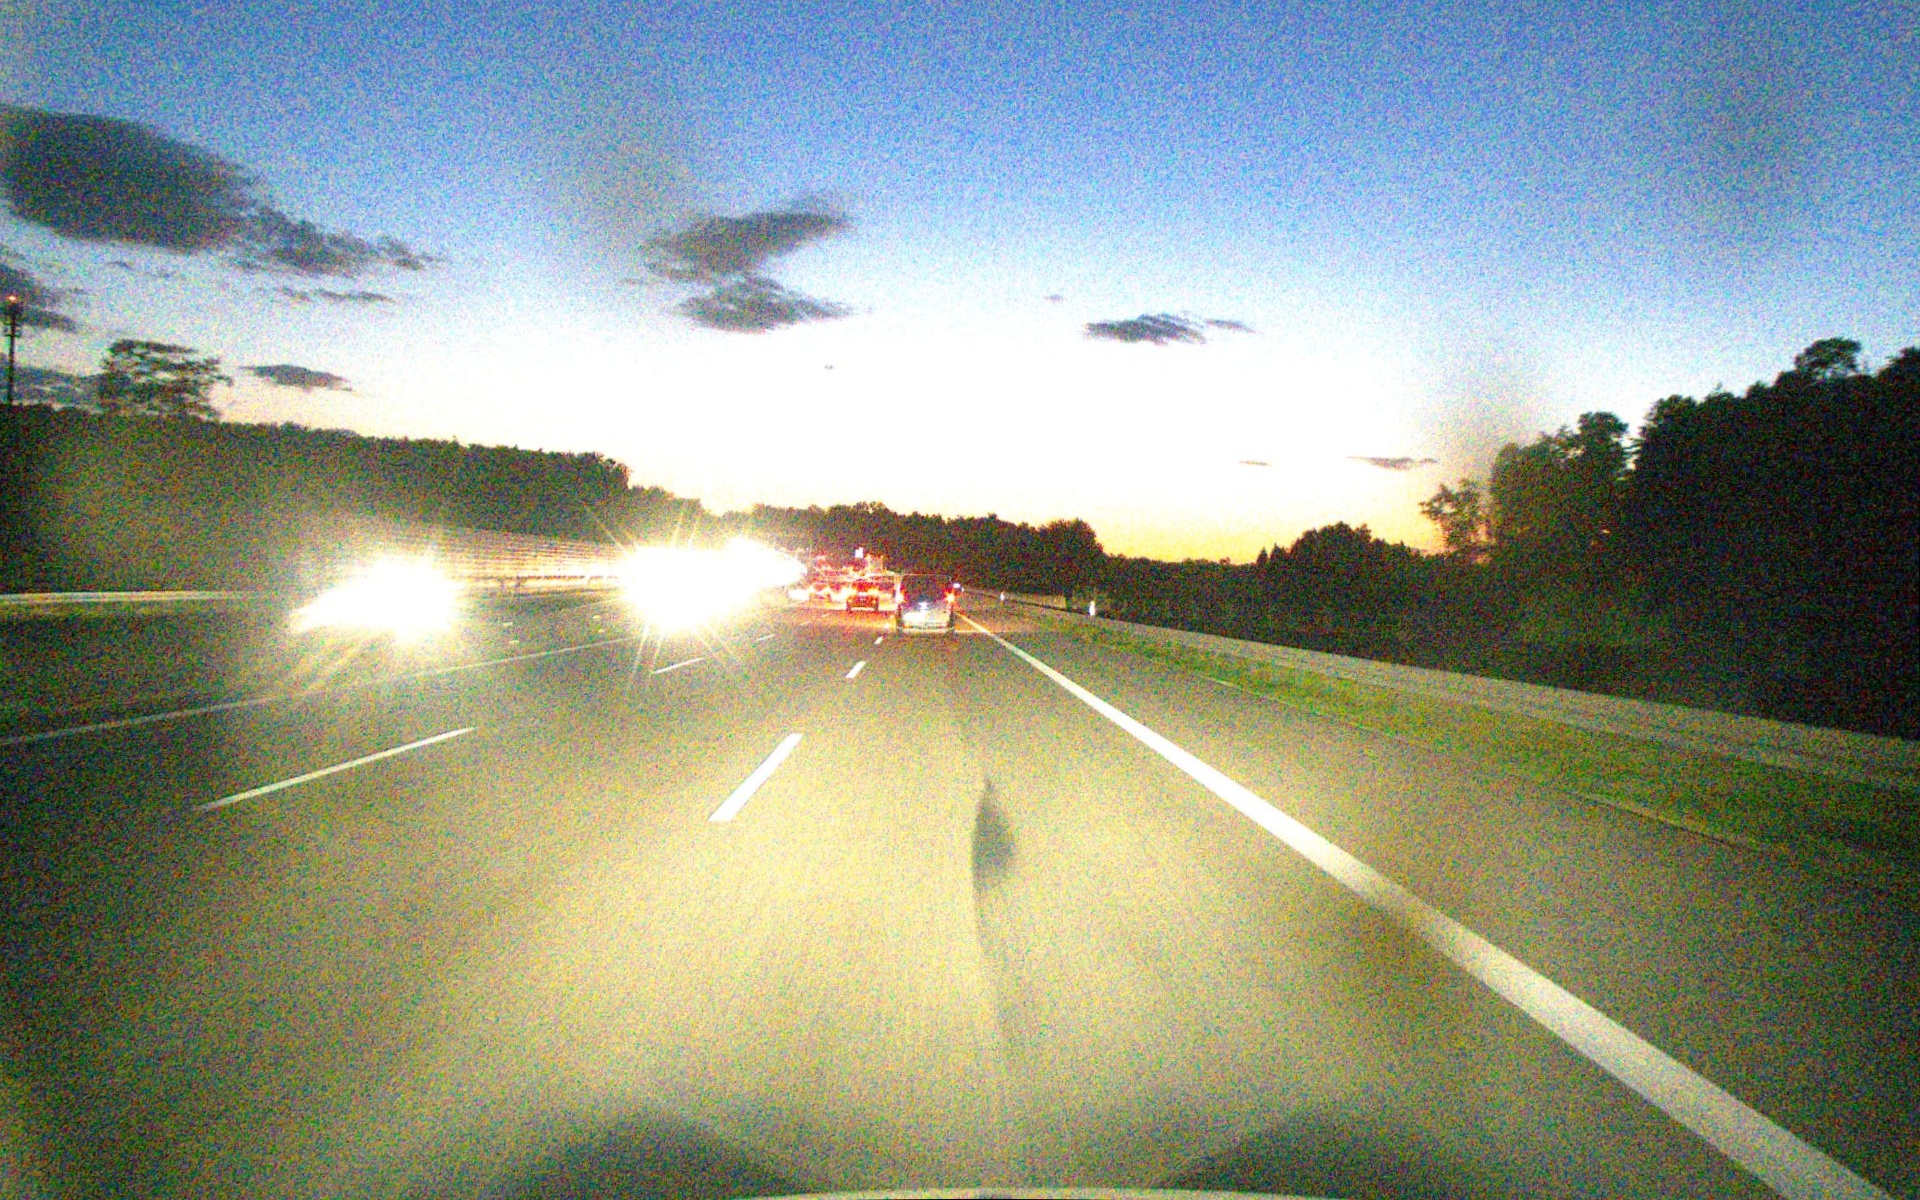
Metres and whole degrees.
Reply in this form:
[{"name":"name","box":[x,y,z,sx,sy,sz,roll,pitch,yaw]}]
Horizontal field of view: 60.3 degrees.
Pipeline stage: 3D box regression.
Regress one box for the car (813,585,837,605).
[{"name":"car","box":[-10.690,-0.370,131.057,1.518,1.456,5.513,1,-1,-1]}]

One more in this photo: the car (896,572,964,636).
[{"name":"car","box":[-1.031,0.109,54.841,2.152,1.989,4.761,0,0,-2]}]

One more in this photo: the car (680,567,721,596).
[{"name":"car","box":[-17.194,-1.200,109.788,2.062,1.820,4.318,1,0,-1]}]

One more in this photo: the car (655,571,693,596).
[{"name":"car","box":[-22.087,-1.277,127.887,2.062,1.820,4.868,1,1,-1]}]

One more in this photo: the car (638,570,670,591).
[{"name":"car","box":[-27.994,-1.779,151.501,2.062,1.820,4.868,1,0,-1]}]

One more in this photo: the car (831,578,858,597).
[{"name":"car","box":[-9.918,-1.070,142.187,1.743,1.512,5.254,4,1,1]}]

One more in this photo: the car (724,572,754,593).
[{"name":"car","box":[-19.618,-1.569,146.864,2.062,1.820,4.868,1,1,-1]}]

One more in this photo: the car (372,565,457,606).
[{"name":"car","box":[-24.284,-0.625,73.858,2.062,1.717,5.385,1,0,-1]}]

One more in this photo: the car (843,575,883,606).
[{"name":"car","box":[-5.684,-0.530,97.734,1.952,1.751,5.942,0,-1,0]}]

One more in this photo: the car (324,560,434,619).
[{"name":"car","box":[-19.358,-0.319,55.310,2.062,1.820,4.658,1,0,-1]}]
